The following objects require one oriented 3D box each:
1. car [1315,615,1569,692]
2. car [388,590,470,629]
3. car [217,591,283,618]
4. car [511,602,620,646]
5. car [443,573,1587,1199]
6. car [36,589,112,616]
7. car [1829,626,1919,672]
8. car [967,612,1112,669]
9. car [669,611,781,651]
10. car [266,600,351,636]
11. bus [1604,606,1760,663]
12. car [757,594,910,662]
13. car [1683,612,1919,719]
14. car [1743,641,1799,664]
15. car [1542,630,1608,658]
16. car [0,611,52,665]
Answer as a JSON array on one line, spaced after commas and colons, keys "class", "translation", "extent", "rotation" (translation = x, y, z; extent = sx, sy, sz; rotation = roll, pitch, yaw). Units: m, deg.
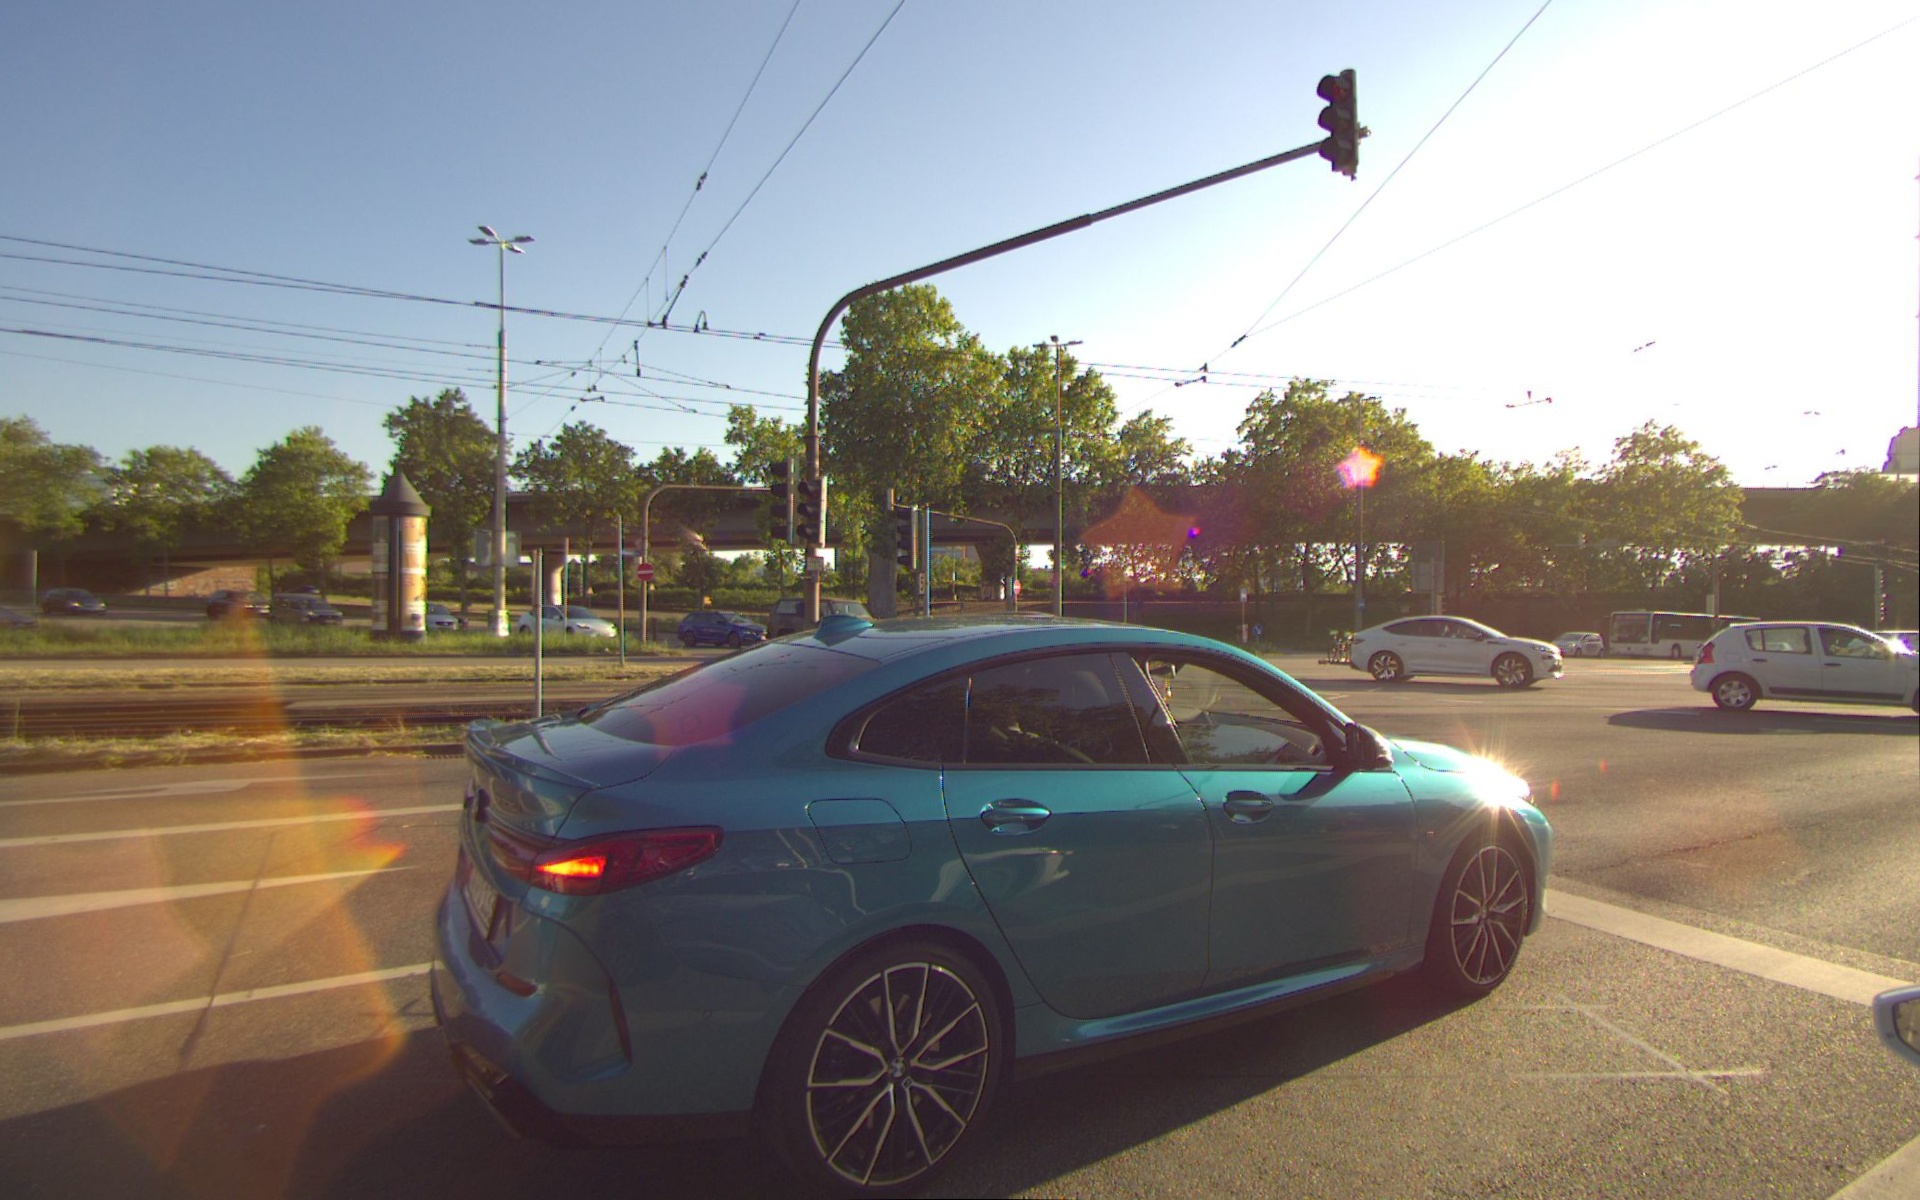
[{"class": "car", "translation": [11.542, 1.201, 24.299], "extent": [5.285, 1.595, 1.733], "rotation": [1, -1, 39]}, {"class": "car", "translation": [-24.307, 0.426, 45.924], "extent": [4.219, 1.653, 1.687], "rotation": [1, 0, 37]}, {"class": "car", "translation": [-42.370, 0.244, 59.925], "extent": [4.335, 1.546, 1.620], "rotation": [1, -1, 31]}, {"class": "car", "translation": [-15.721, 0.923, 39.942], "extent": [4.688, 1.595, 1.688], "rotation": [1, 0, 35]}, {"class": "car", "translation": [0.462, 0.741, 3.815], "extent": [4.162, 1.485, 1.704], "rotation": [1, -1, -33]}, {"class": "car", "translation": [-53.978, 0.158, 61.203], "extent": [3.857, 1.546, 1.724], "rotation": [1, 0, 18]}, {"class": "car", "translation": [31.904, 1.648, 33.759], "extent": [4.116, 1.423, 1.670], "rotation": [1, 0, -4]}, {"class": "car", "translation": [2.433, 1.206, 31.129], "extent": [4.177, 1.595, 1.689], "rotation": [1, -1, 34]}, {"class": "car", "translation": [-9.487, 1.210, 40.412], "extent": [4.546, 1.478, 1.689], "rotation": [1, -1, 33]}, {"class": "car", "translation": [-33.541, 0.905, 51.672], "extent": [4.332, 1.701, 1.692], "rotation": [1, 0, 26]}, {"class": "bus", "translation": [45.468, 2.242, 63.054], "extent": [12.756, 3.171, 2.534], "rotation": [3, -2, -28]}, {"class": "car", "translation": [-4.104, 0.844, 32.136], "extent": [4.868, 2.017, 2.029], "rotation": [1, -1, 39]}, {"class": "car", "translation": [14.526, 1.041, 16.738], "extent": [3.938, 1.595, 1.686], "rotation": [1, -1, 39]}, {"class": "car", "translation": [55.054, 3.536, 68.165], "extent": [3.959, 1.438, 1.600], "rotation": [1, 0, -29]}, {"class": "car", "translation": [35.089, 2.509, 57.295], "extent": [3.964, 1.532, 1.598], "rotation": [2, 0, -32]}, {"class": "car", "translation": [-31.791, 1.213, 31.786], "extent": [1.719, 1.701, 4.756], "rotation": [1, 0, 0]}]
